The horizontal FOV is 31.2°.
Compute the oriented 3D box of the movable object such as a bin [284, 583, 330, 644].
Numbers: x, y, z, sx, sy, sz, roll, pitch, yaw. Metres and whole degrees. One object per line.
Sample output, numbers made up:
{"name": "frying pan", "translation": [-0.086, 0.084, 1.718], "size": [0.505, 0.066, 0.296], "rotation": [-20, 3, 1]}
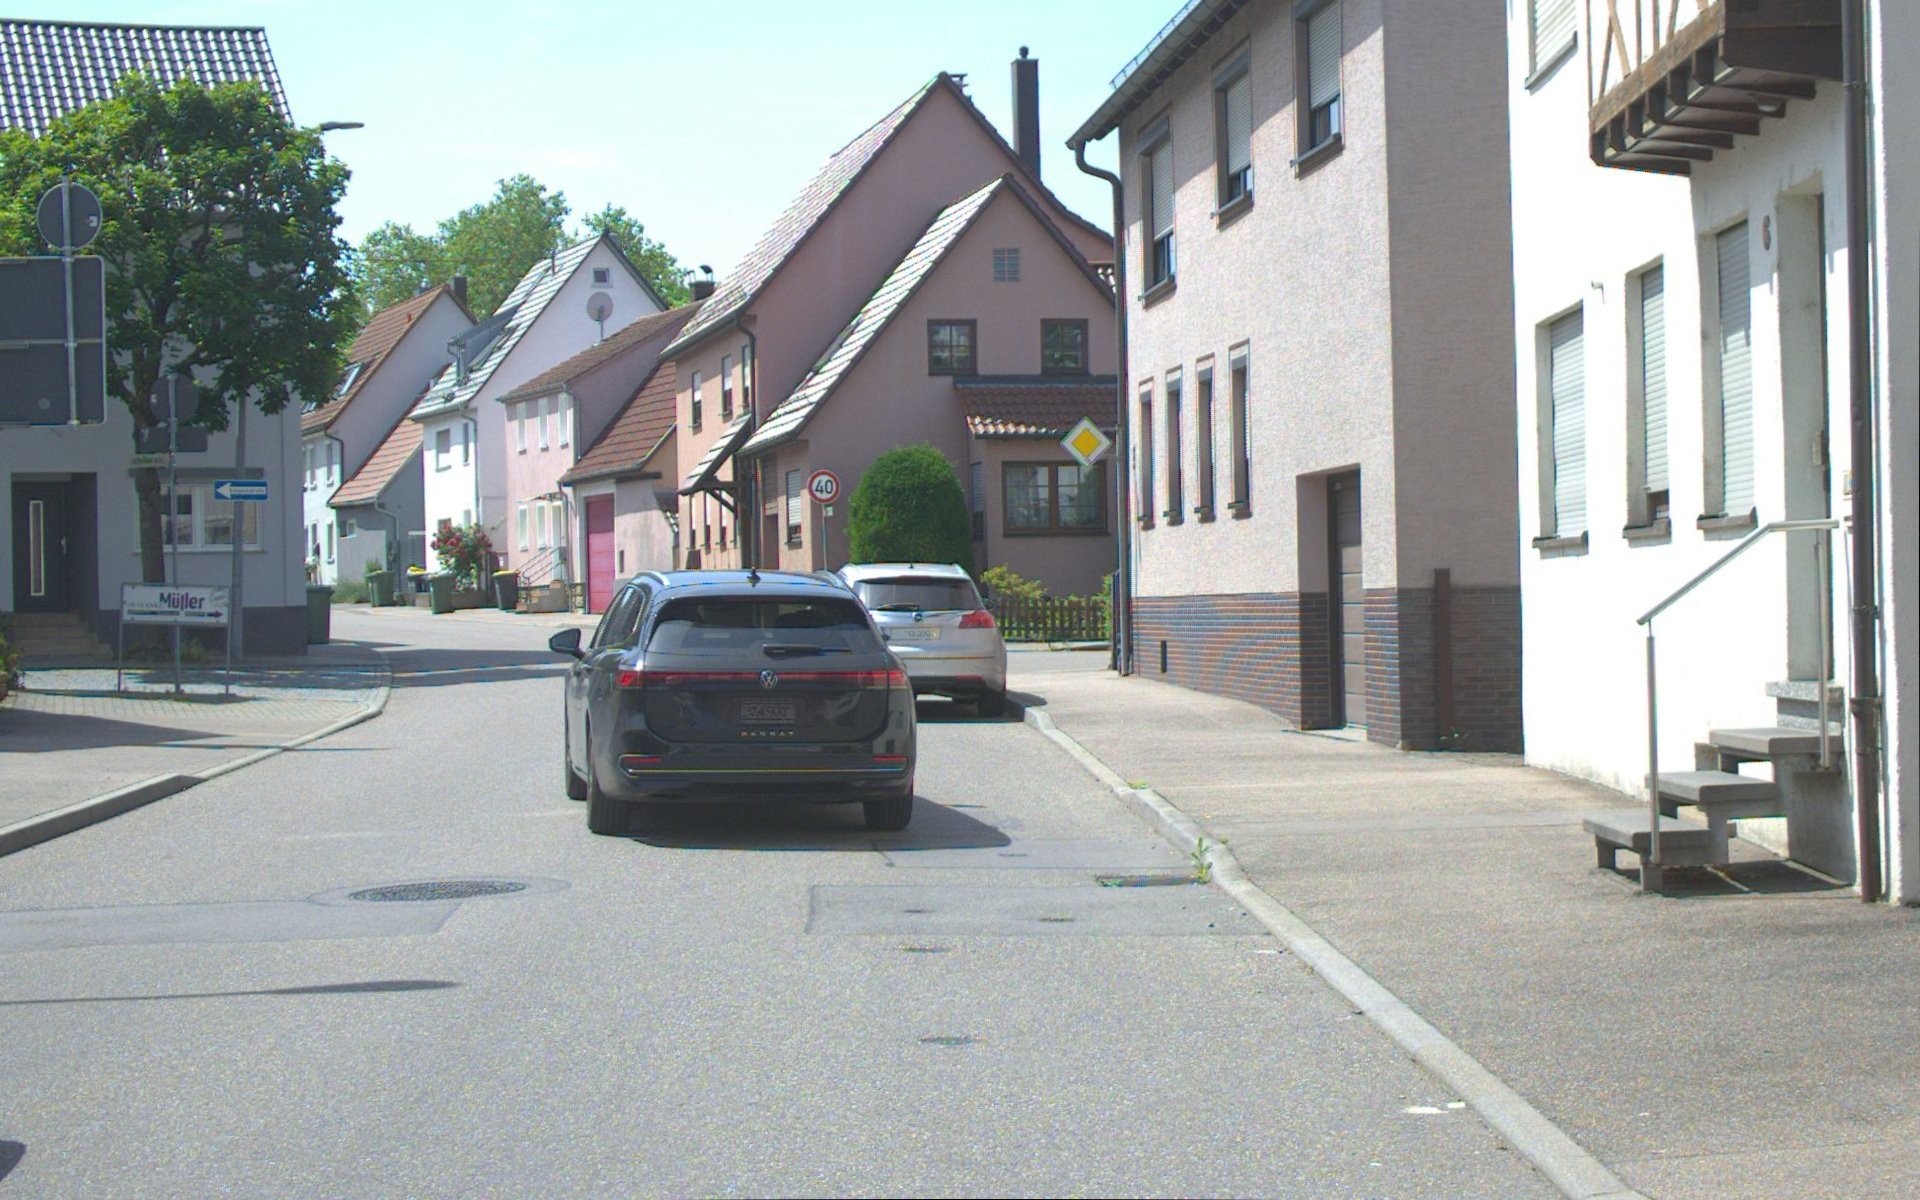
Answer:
{"name": "movable object such as a bin", "translation": [-11.485, 0.235, 60.443], "size": [0.753, 1.056, 0.680], "rotation": [-1, 1, -14]}

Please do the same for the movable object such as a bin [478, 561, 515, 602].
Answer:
{"name": "movable object such as a bin", "translation": [-12.525, -0.491, 92.867], "size": [0.678, 1.046, 0.835], "rotation": [-6, 3, -25]}

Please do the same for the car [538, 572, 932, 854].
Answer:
{"name": "car", "translation": [-1.439, 0.560, 20.070], "size": [1.841, 1.415, 4.683], "rotation": [0, 1, -9]}

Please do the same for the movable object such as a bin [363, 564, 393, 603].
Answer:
{"name": "movable object such as a bin", "translation": [-17.313, -0.492, 102.234], "size": [0.678, 1.151, 0.820], "rotation": [0, 0, -25]}

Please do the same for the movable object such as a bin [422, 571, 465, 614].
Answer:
{"name": "movable object such as a bin", "translation": [-14.033, -0.209, 93.410], "size": [0.876, 1.071, 0.873], "rotation": [-6, 3, -25]}

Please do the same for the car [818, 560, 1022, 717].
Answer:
{"name": "car", "translation": [-0.456, 0.333, 34.037], "size": [1.785, 1.437, 4.338], "rotation": [0, 1, -4]}
